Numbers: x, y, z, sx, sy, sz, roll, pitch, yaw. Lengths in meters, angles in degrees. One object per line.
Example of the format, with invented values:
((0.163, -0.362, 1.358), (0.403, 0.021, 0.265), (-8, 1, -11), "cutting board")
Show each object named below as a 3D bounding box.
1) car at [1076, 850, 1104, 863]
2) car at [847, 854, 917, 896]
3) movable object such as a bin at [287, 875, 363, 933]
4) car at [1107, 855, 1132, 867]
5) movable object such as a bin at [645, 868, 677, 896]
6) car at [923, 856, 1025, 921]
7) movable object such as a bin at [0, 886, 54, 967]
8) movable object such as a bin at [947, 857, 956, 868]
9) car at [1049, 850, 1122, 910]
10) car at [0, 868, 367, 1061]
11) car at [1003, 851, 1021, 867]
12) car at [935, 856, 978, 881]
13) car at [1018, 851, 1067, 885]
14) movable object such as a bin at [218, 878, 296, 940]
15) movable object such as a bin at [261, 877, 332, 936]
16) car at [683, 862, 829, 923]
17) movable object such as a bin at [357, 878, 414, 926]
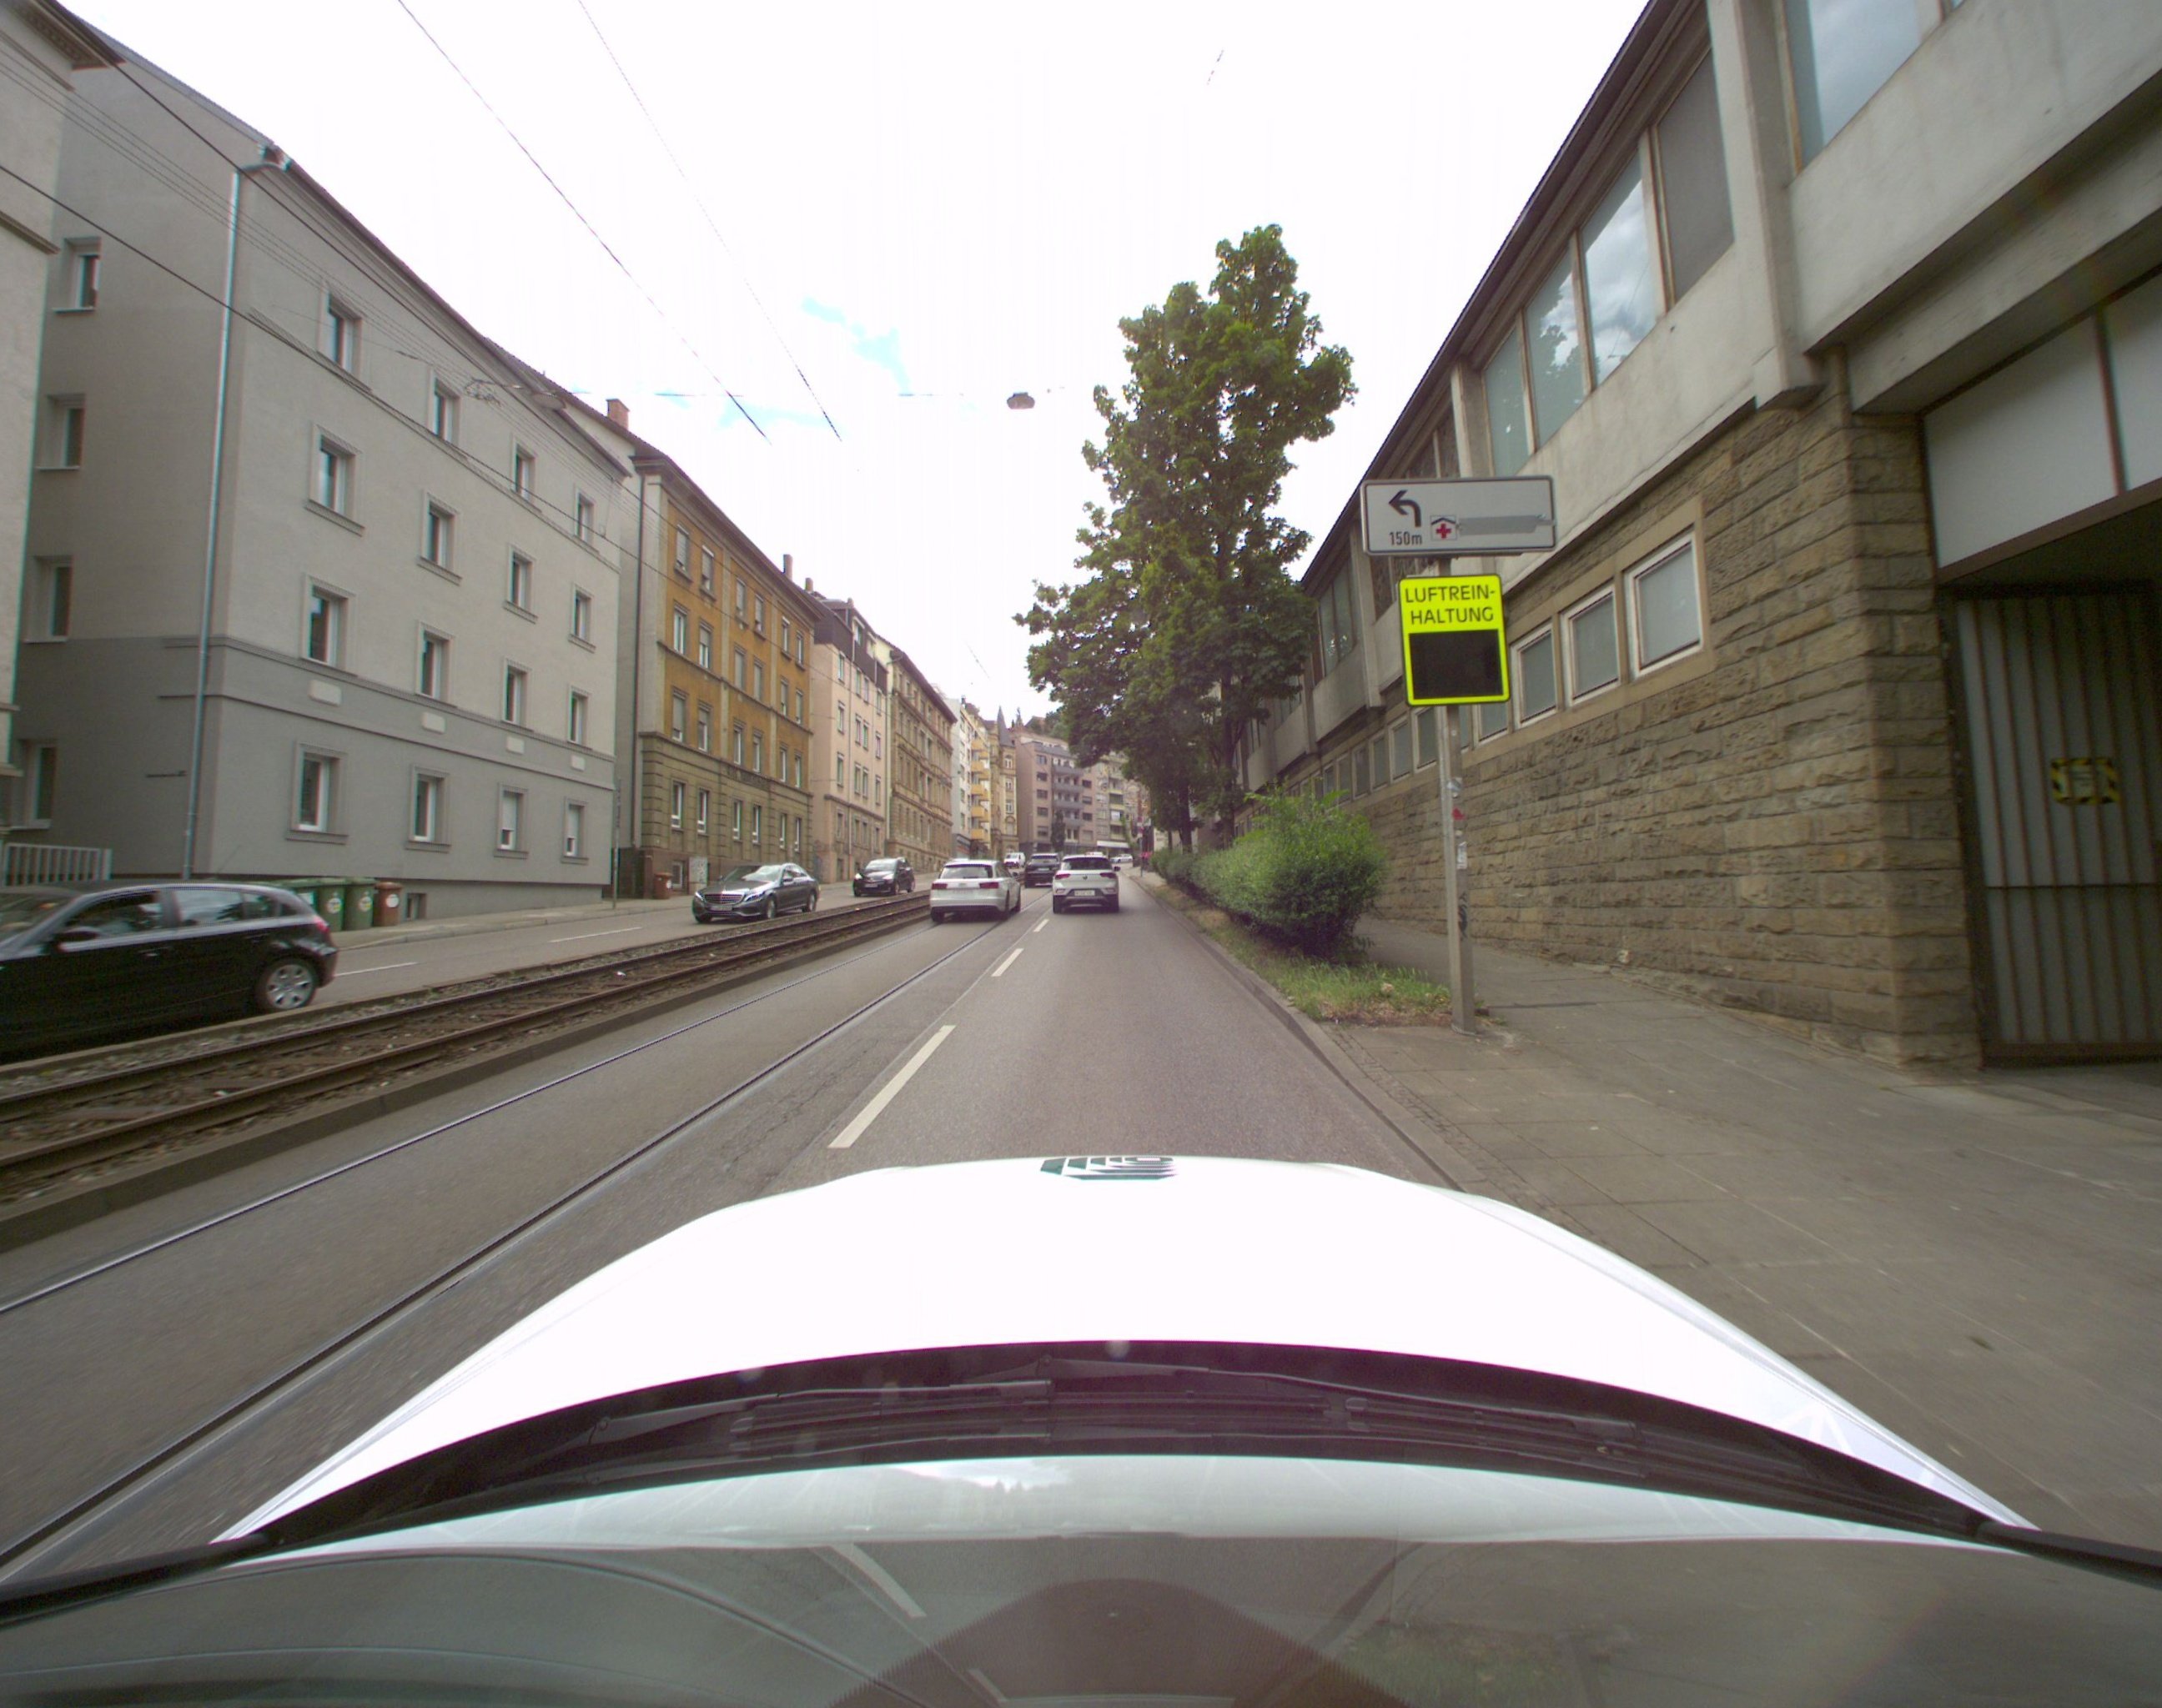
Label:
((1.502, 0.394, 133.251), (1.974, 2.035, 4.731), (-1, 0, 40), "car")
((-8.077, 0.810, 33.390), (1.737, 1.596, 3.970), (-1, 0, 1), "car")
((-14.860, 0.975, 16.021), (0.822, 1.074, 0.698), (-1, 0, 1), "movable object such as a bin")
((6.635, 1.246, 138.519), (1.885, 1.922, 4.463), (-1, 0, 40), "car")
((-14.718, 0.992, 28.548), (0.776, 0.947, 0.653), (-1, 0, 1), "movable object such as a bin")
((-2.601, 0.791, 20.920), (1.872, 1.455, 4.618), (-1, 0, 1), "car")
((-14.947, 0.990, 11.227), (0.714, 1.074, 0.681), (-1, 0, 1), "movable object such as a bin")
((-12.959, 0.832, 81.230), (0.767, 1.074, 0.561), (-1, 0, 1), "movable object such as a bin")
((0.121, 0.683, 22.927), (1.872, 1.554, 4.000), (0, -1, 0), "car")
((-8.871, 0.855, 6.935), (1.823, 1.364, 4.164), (-1, 0, 1), "car")
((-8.507, 0.540, 100.818), (1.952, 1.900, 5.314), (-1, 0, -2), "car")
((-7.682, 0.846, 50.796), (1.836, 1.455, 4.663), (-1, 0, 1), "car")
((-1.859, 0.640, 40.373), (2.030, 1.571, 4.361), (-1, 0, 2), "car")
((-14.914, 0.979, 14.752), (0.725, 1.074, 0.671), (-1, 0, 1), "movable object such as a bin")
((-14.821, 0.977, 15.406), (0.740, 1.074, 0.607), (-1, 0, 1), "movable object such as a bin")
((-8.301, 0.915, 21.338), (1.805, 1.361, 4.766), (-1, 0, 2), "car")
((-14.908, 1.016, 17.470), (0.620, 0.985, 0.677), (-1, 0, 2), "movable object such as a bin")
